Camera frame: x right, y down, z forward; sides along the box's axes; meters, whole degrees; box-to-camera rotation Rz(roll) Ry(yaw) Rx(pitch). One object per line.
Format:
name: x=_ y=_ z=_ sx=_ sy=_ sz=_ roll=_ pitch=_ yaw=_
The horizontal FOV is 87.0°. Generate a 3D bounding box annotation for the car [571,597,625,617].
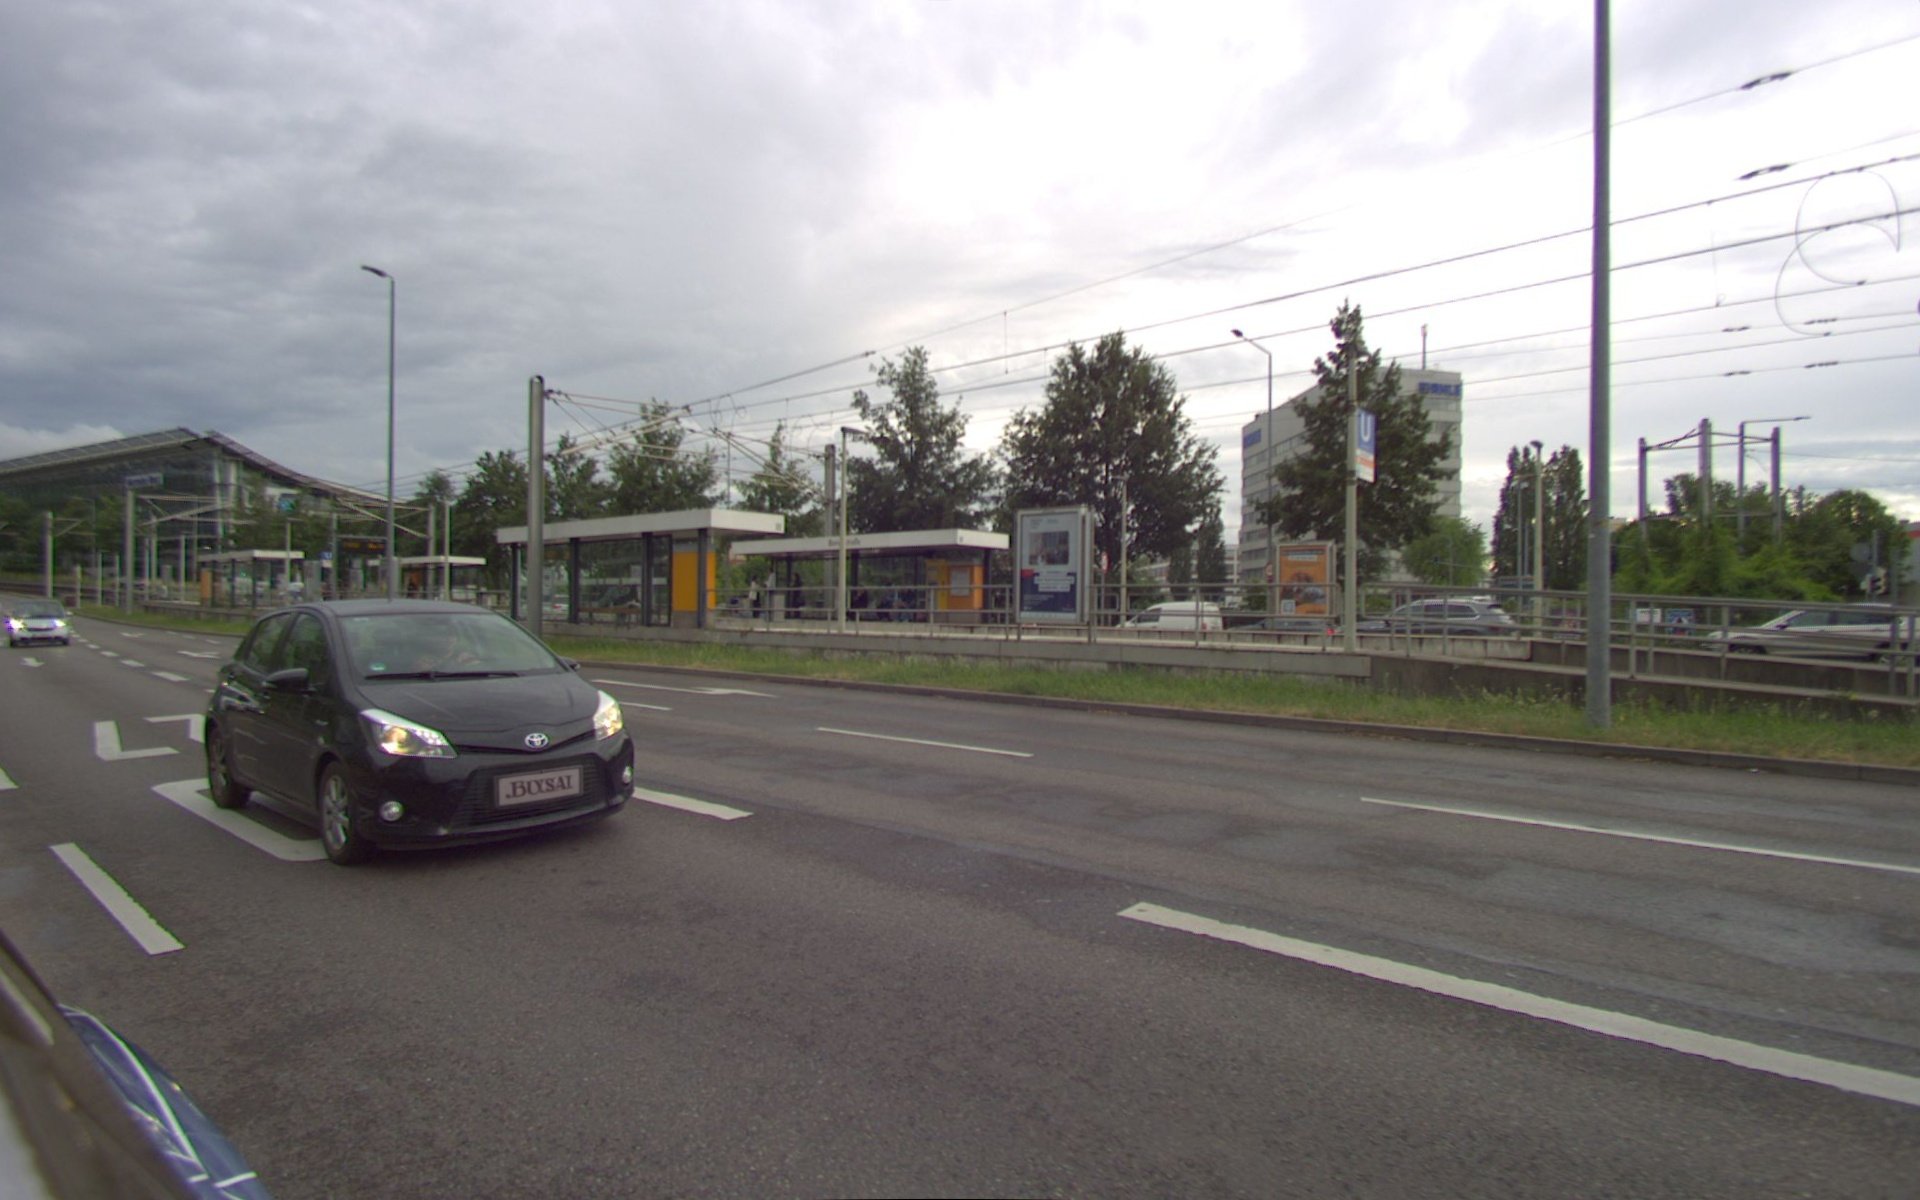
car: x=-23.535 y=0.424 z=65.808 sx=3.931 sy=1.139 sz=1.511 roll=1 pitch=2 yaw=39

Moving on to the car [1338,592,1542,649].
car: x=12.219 y=0.463 z=25.883 sx=4.410 sy=1.273 sz=1.889 roll=1 pitch=2 yaw=39

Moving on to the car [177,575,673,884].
car: x=-3.817 y=0.663 z=6.931 sx=3.902 sy=1.534 sz=1.675 roll=-1 pitch=0 yaw=40

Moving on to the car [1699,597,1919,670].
car: x=19.747 y=0.715 z=23.490 sx=4.145 sy=1.473 sz=1.723 roll=1 pitch=2 yaw=36

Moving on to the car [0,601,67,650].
car: x=-31.248 y=0.804 z=34.046 sx=1.715 sy=1.489 sz=4.004 roll=-2 pitch=1 yaw=-43

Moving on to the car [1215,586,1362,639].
car: x=10.193 y=0.340 z=31.503 sx=3.996 sy=1.514 sz=1.769 roll=1 pitch=2 yaw=39

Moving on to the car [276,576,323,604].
car: x=-54.567 y=-0.859 z=83.577 sx=5.142 sy=2.231 sz=1.973 roll=1 pitch=2 yaw=42

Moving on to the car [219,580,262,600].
car: x=-66.150 y=-0.928 z=93.000 sx=5.026 sy=1.744 sz=1.974 roll=1 pitch=2 yaw=40

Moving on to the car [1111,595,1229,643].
car: x=7.839 y=0.673 z=37.927 sx=4.079 sy=1.639 sz=1.556 roll=1 pitch=2 yaw=39

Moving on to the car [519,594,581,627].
car: x=-23.312 y=0.569 z=57.489 sx=4.267 sy=1.679 sz=1.512 roll=1 pitch=2 yaw=41
